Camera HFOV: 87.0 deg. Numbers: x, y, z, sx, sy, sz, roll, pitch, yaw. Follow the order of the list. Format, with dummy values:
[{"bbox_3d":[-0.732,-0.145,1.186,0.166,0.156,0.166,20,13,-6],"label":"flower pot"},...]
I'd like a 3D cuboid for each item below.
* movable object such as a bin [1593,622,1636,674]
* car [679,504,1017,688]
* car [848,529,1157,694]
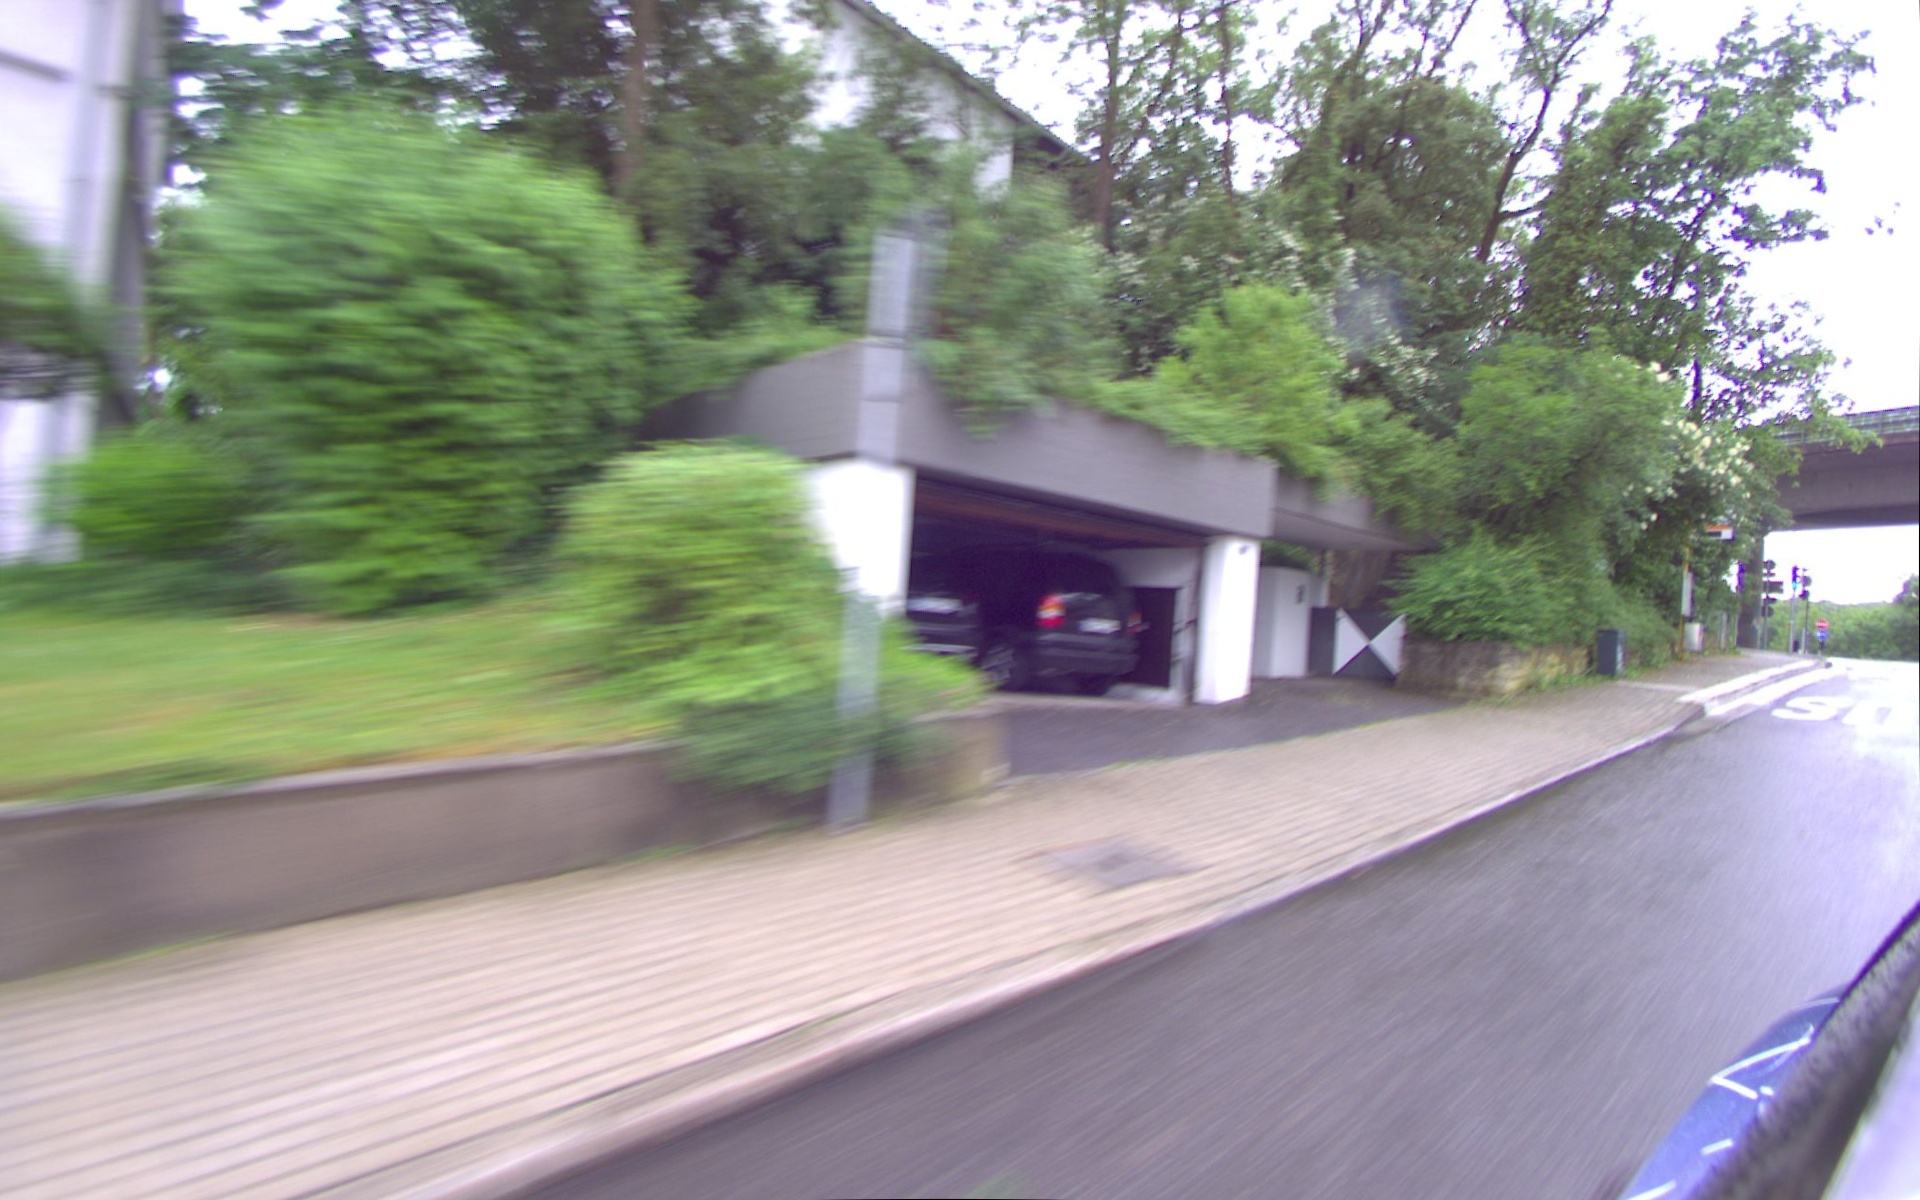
[{"bbox_3d":[10.523,0.765,16.276,0.506,0.798,0.494,1,0,43],"label":"movable object such as a bin"},{"bbox_3d":[-1.414,-0.081,11.319,1.766,1.649,3.997,5,-1,-39],"label":"car"},{"bbox_3d":[0.387,0.114,12.515,1.641,1.697,3.788,5,-2,-39],"label":"car"}]
